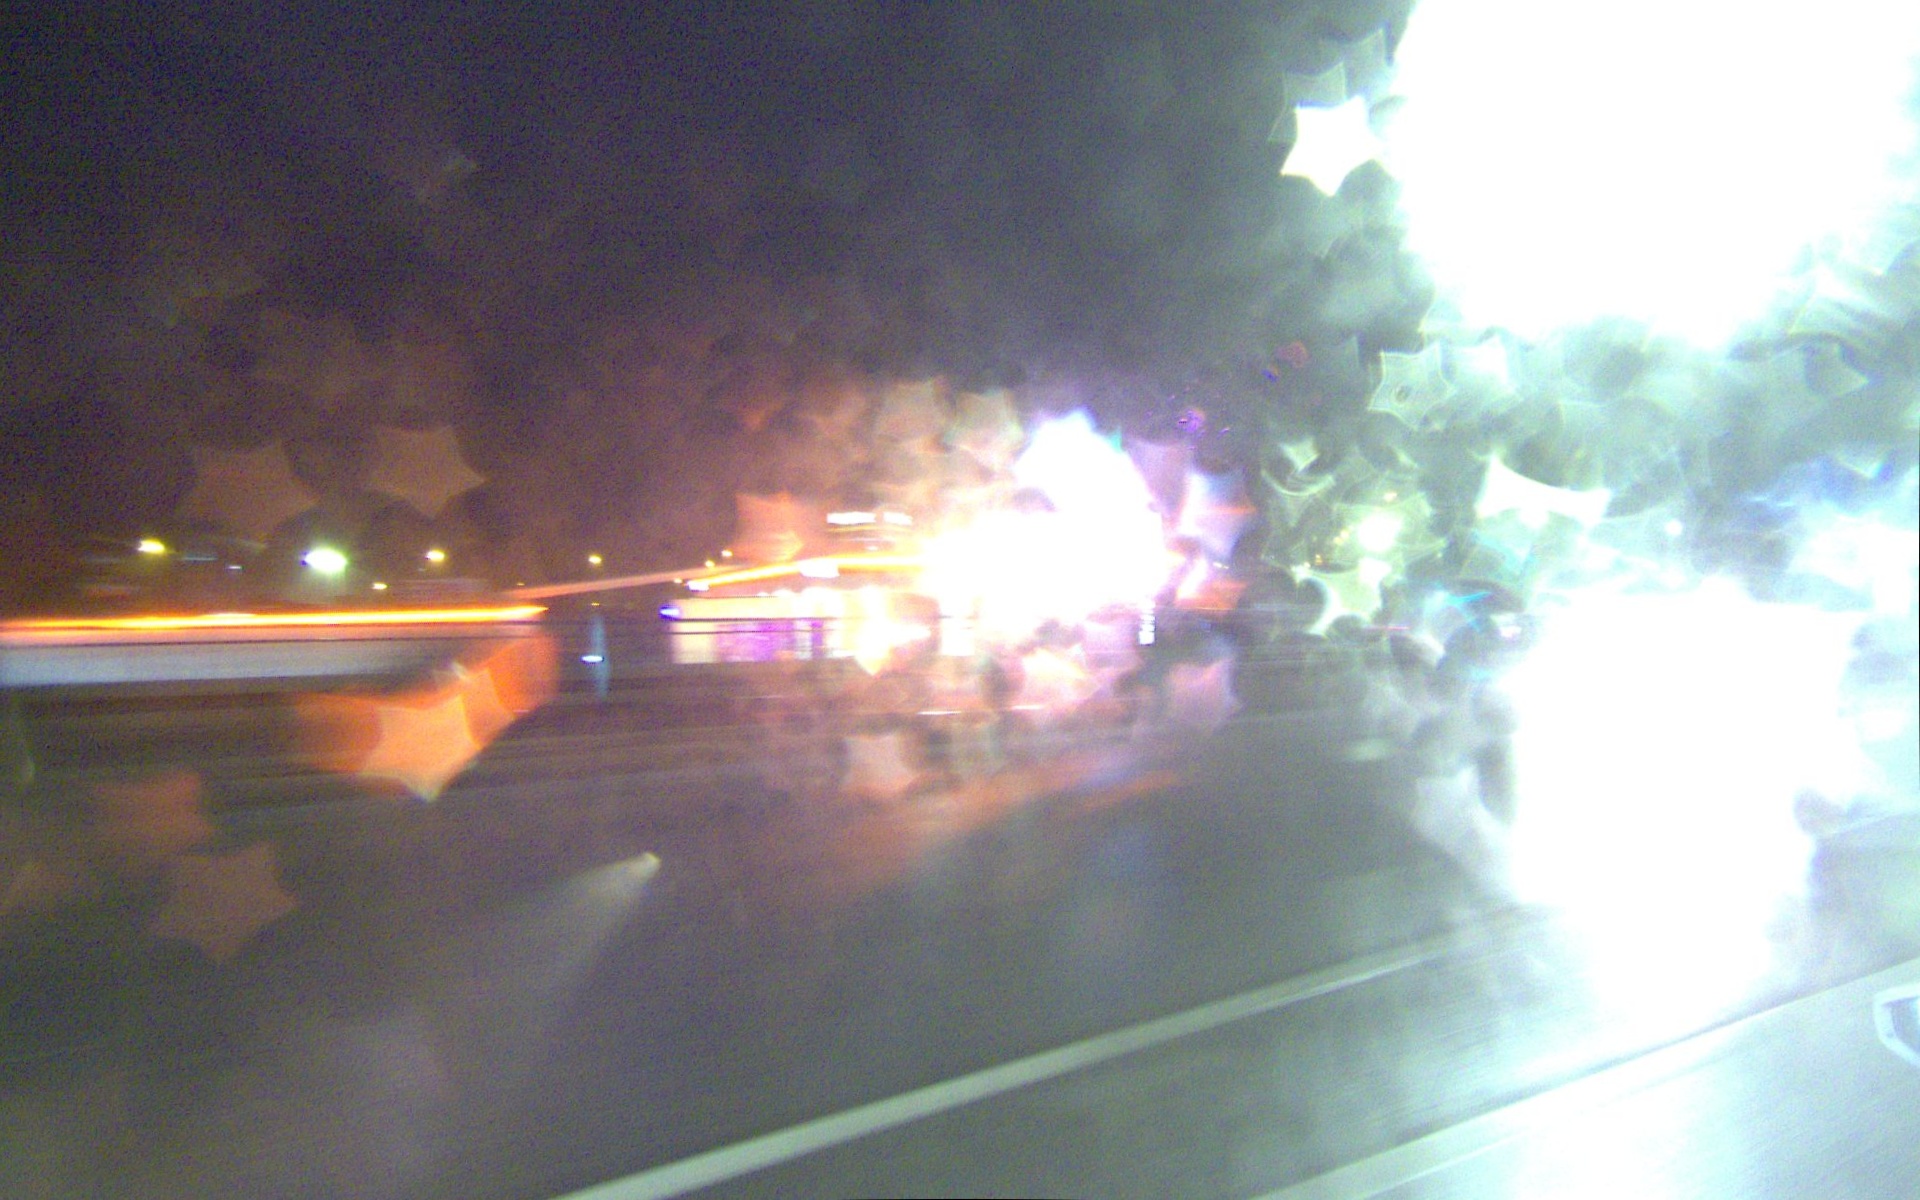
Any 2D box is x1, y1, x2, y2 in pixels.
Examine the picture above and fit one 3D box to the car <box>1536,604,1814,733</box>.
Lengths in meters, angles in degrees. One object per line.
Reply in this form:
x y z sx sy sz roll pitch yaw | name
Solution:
9.864 0.851 13.777 4.145 1.523 1.814 1 -1 -35 | car
